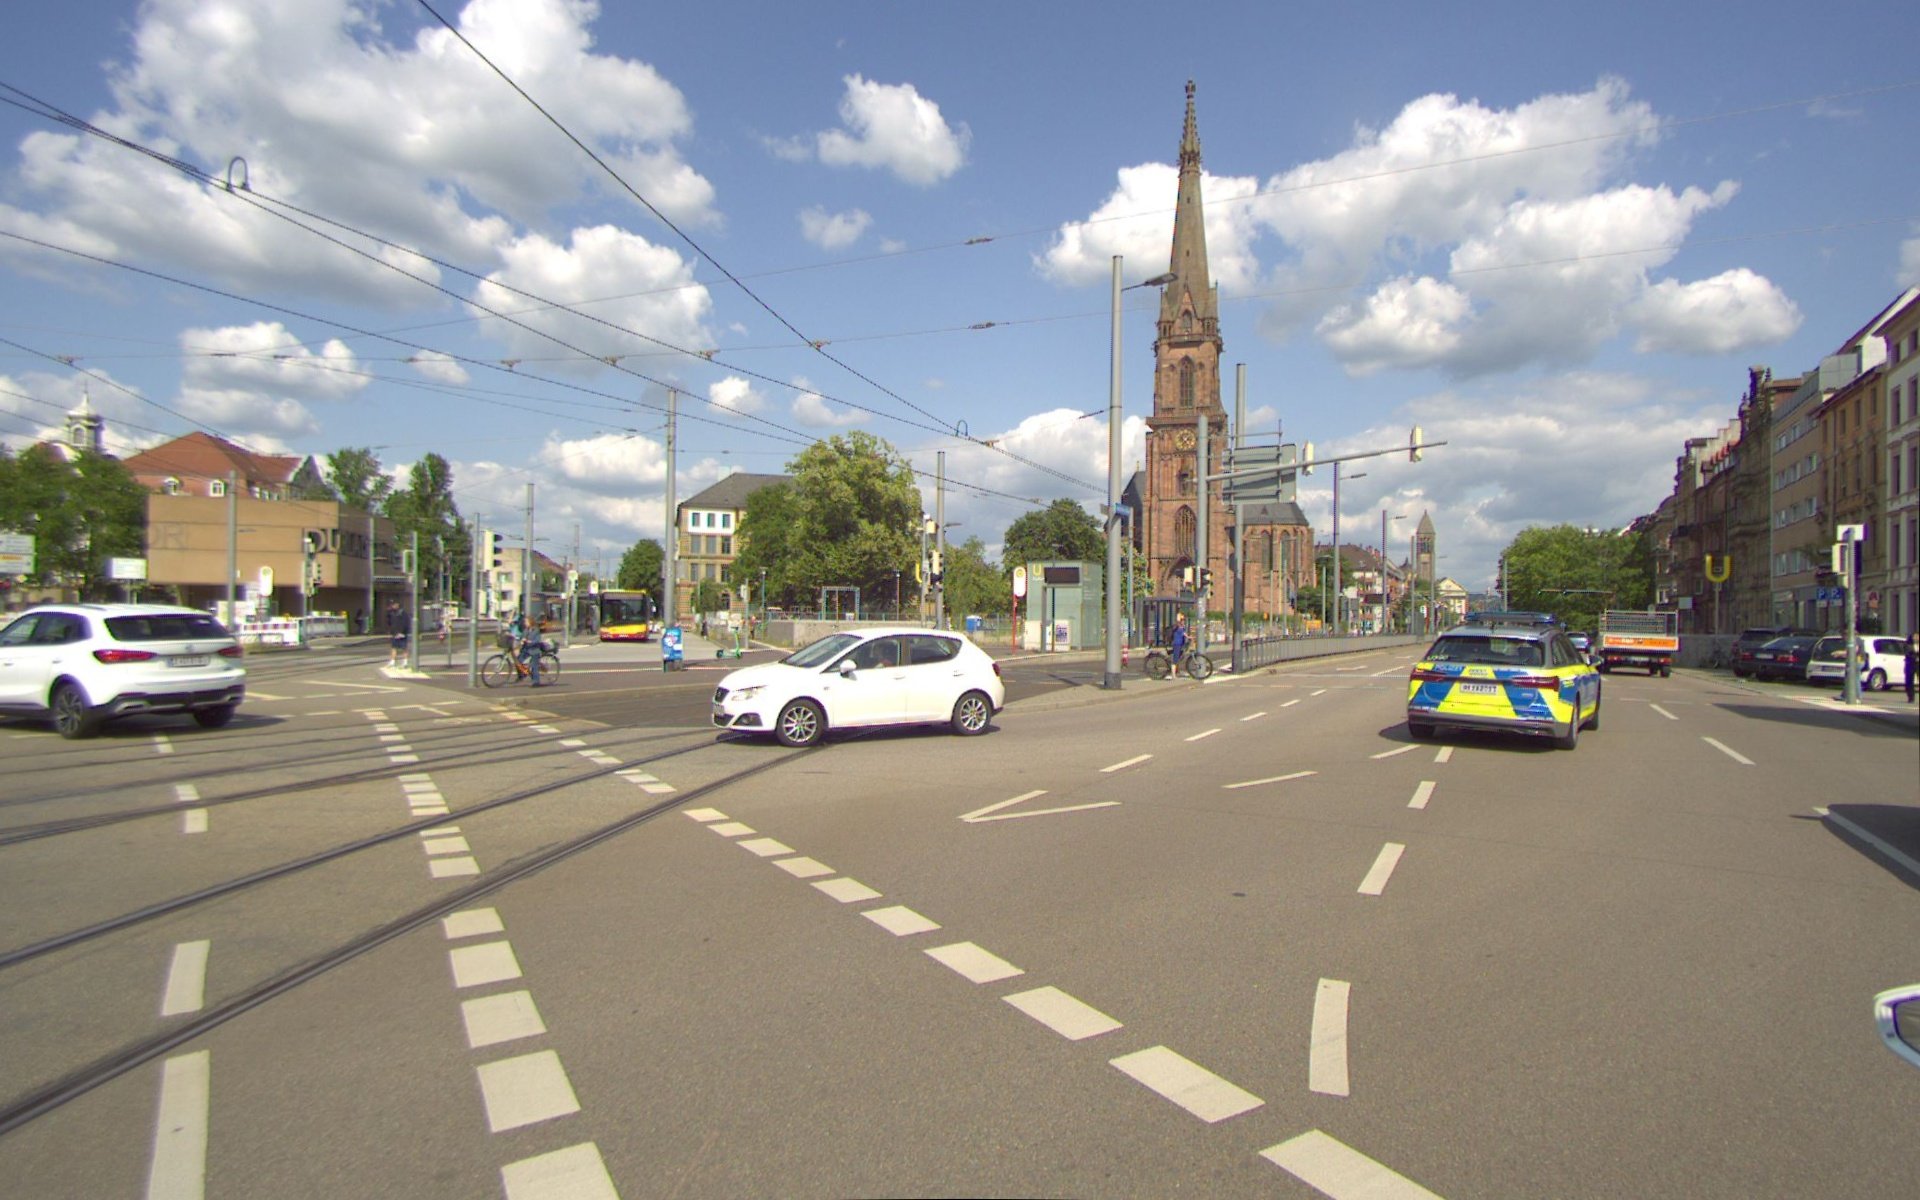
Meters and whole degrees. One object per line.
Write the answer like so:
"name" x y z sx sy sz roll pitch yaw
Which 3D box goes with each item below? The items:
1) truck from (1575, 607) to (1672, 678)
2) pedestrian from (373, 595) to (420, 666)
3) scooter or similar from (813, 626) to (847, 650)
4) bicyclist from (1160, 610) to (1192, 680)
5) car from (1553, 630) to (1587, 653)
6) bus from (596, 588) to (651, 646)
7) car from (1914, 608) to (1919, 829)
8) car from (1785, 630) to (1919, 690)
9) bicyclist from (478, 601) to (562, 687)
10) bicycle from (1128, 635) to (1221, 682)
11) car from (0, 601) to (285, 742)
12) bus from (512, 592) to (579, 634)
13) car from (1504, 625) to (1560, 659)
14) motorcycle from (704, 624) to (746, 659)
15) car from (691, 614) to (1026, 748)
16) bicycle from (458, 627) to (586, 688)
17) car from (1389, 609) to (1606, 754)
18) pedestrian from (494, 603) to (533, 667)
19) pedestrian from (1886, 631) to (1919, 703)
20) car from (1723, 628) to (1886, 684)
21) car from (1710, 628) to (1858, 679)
"truck" 22.552 1.406 34.367 2.304 2.184 5.842 0 -1 29
"pedestrian" -15.491 0.827 27.622 0.810 1.928 0.768 0 1 11
"scooter or similar" -6.592 1.923 51.083 1.618 1.120 0.850 0 1 -15
"bicyclist" 5.759 1.182 26.767 0.697 1.821 0.779 0 1 24
"car" 41.236 2.787 67.926 1.710 1.395 3.994 1 0 28
"bus" -20.616 1.066 62.084 2.789 3.177 12.795 1 -1 -17
"car" 7.131 0.873 5.657 1.801 1.686 3.945 1 -1 33
"car" 25.376 1.664 27.871 3.833 1.516 1.895 2 0 -13
"bicyclist" -9.371 0.923 21.406 0.980 1.754 1.295 0 -1 40
"bicycle" 5.733 1.546 26.821 2.312 1.153 0.889 0 1 24
"car" -11.571 0.867 13.498 4.203 1.661 2.043 0 -1 20
"bus" -36.534 1.226 89.560 3.421 3.226 23.689 1 -1 -17
"car" 27.056 1.962 47.622 1.818 1.494 3.999 0 -1 22
"motorcycle" -8.599 1.510 36.791 0.477 1.253 1.438 1 -1 44
"car" -1.326 0.989 13.540 4.048 1.548 1.983 1 -1 -32
"bicycle" -9.326 1.203 21.461 0.980 1.204 2.290 0 -2 39
"car" 7.327 0.970 13.424 1.856 1.589 4.597 0 -2 37
"pedestrian" -13.133 1.016 29.535 0.762 1.822 1.015 -1 1 -42
"pedestrian" 20.939 1.477 22.225 0.546 1.554 0.698 0 -2 34
"car" 25.567 1.692 30.461 3.834 1.516 1.894 2 0 -14
"car" 27.383 1.776 33.420 3.834 1.516 1.894 2 0 -14
